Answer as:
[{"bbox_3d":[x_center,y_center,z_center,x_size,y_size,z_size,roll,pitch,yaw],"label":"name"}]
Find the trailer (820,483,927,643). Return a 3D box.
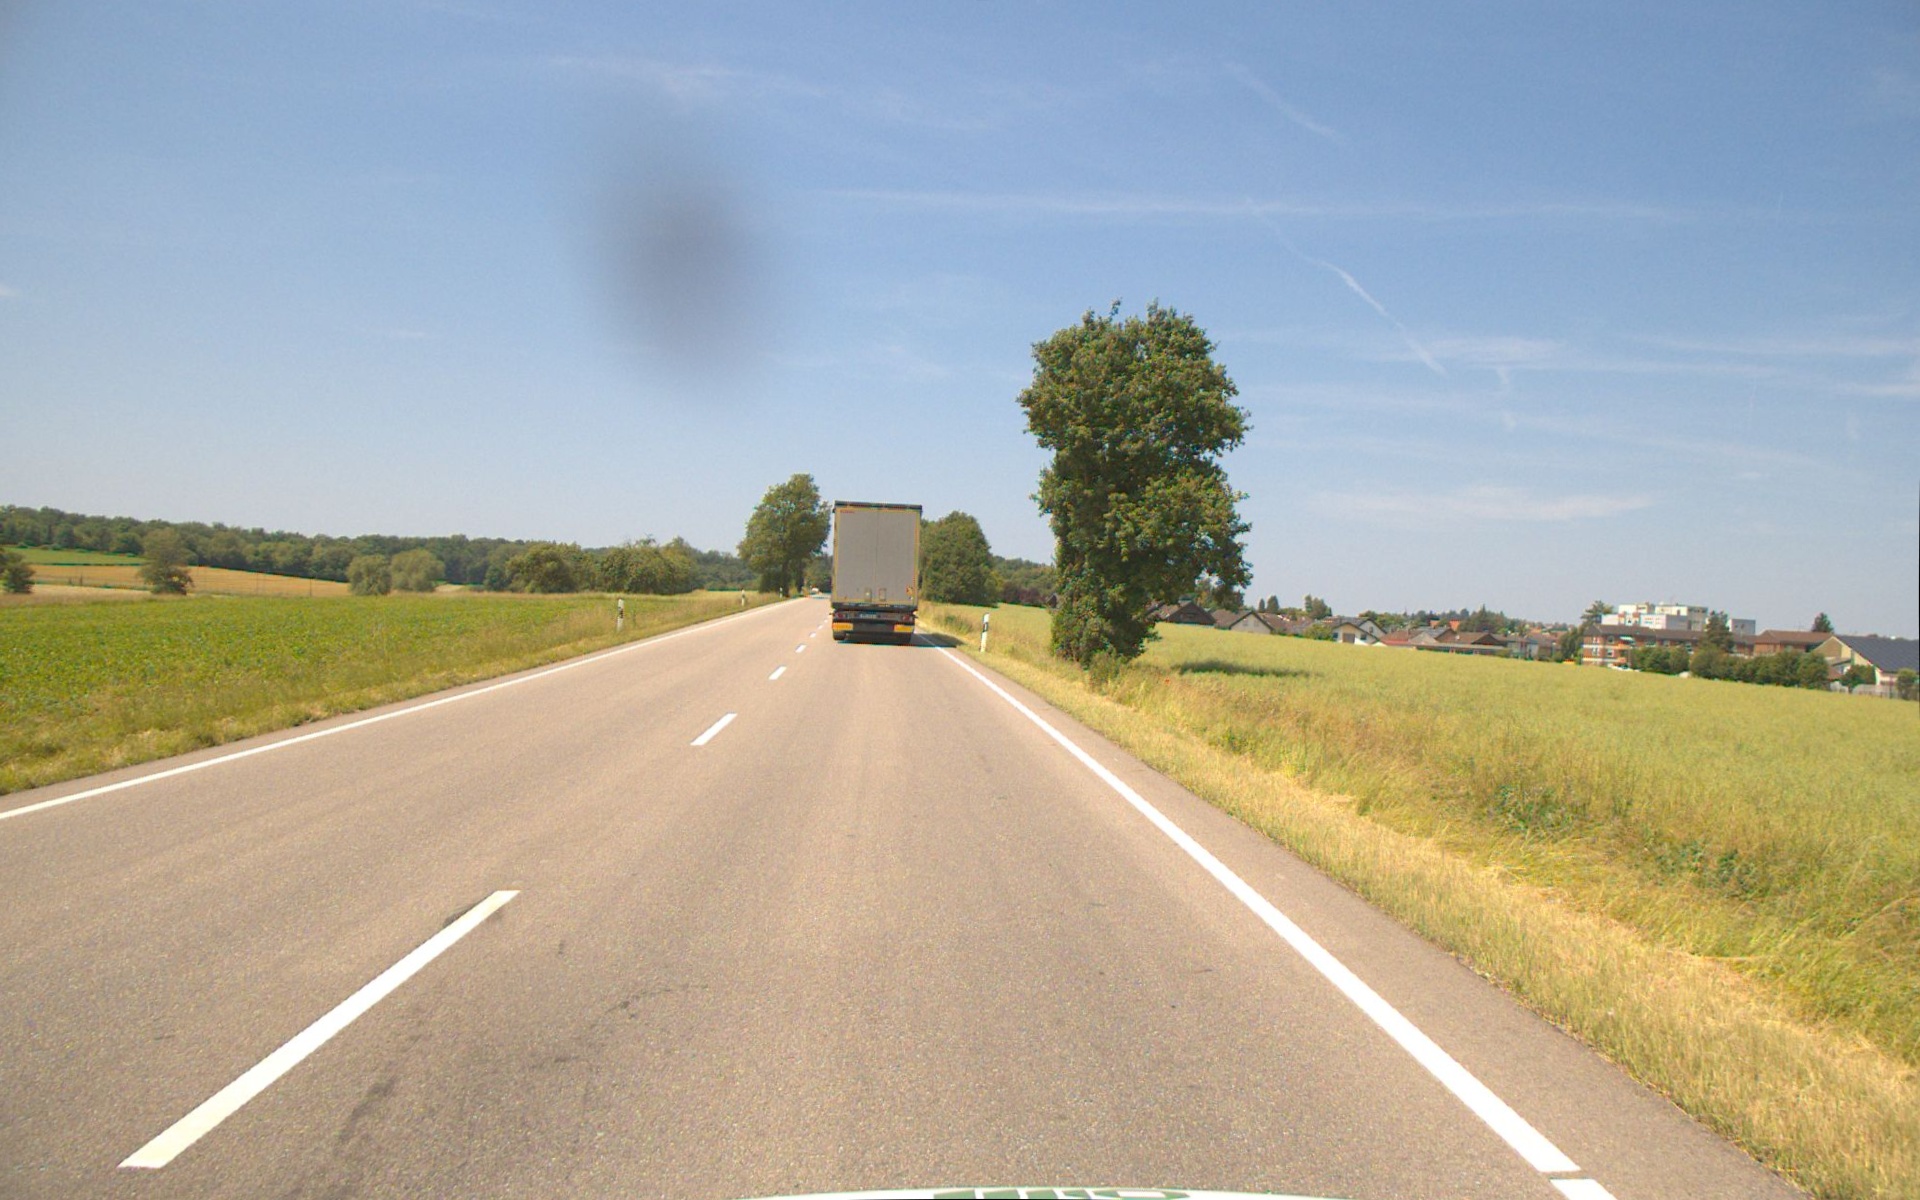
[{"bbox_3d":[-3.023,-1.106,53.767,2.811,4.477,13.478,2,0,-5],"label":"trailer"}]
